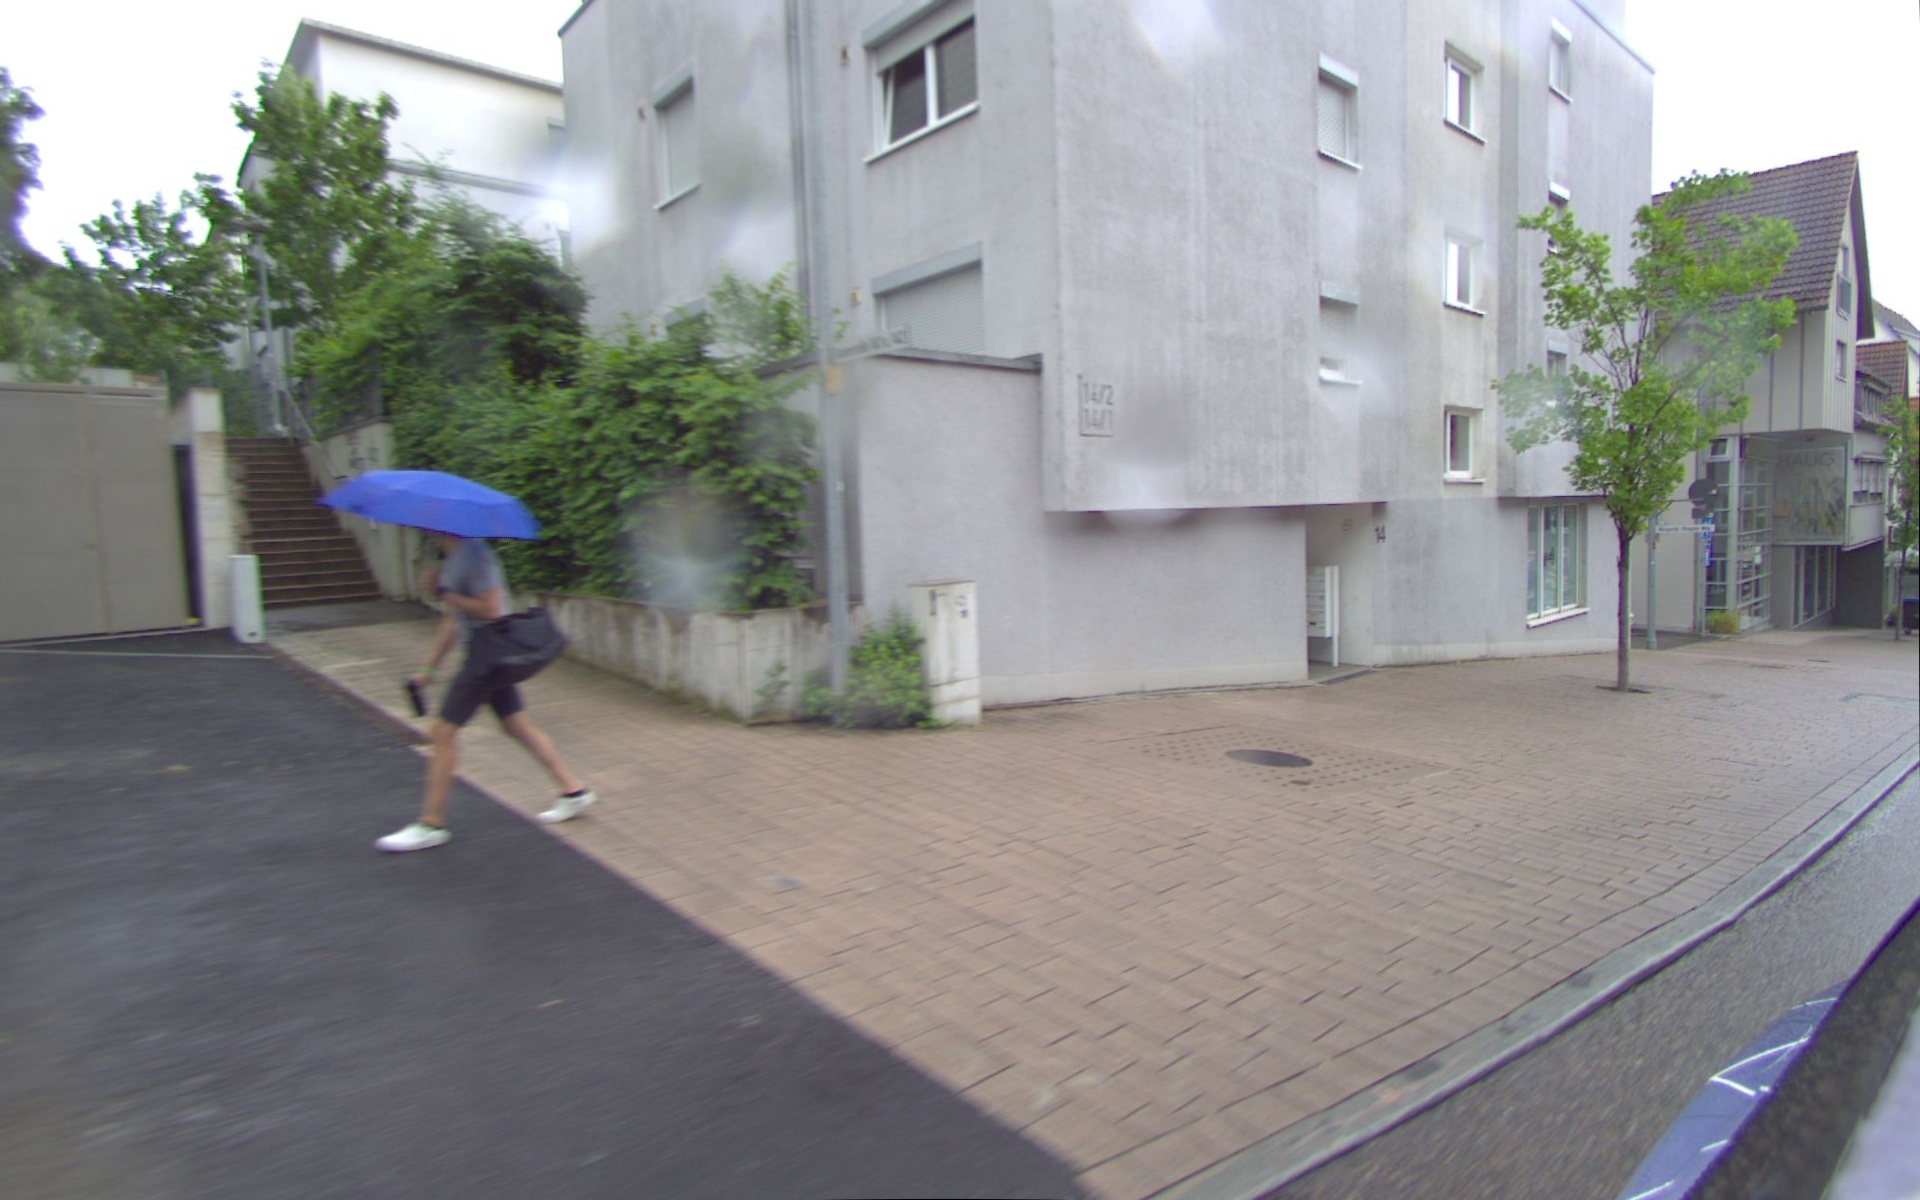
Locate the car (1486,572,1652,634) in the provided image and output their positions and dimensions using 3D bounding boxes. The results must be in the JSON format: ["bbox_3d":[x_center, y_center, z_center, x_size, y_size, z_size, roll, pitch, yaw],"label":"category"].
[{"bbox_3d":[17.842,0.016,29.760,1.714,1.471,3.771,-1,6,-41],"label":"car"}]

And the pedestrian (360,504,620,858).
[{"bbox_3d":[-2.350,0.333,5.056,1.019,1.560,0.738,0,4,-38],"label":"pedestrian"}]

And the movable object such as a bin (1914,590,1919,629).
[{"bbox_3d":[34.782,0.363,35.861,1.151,1.351,1.238,1,2,-39],"label":"movable object such as a bin"}]
